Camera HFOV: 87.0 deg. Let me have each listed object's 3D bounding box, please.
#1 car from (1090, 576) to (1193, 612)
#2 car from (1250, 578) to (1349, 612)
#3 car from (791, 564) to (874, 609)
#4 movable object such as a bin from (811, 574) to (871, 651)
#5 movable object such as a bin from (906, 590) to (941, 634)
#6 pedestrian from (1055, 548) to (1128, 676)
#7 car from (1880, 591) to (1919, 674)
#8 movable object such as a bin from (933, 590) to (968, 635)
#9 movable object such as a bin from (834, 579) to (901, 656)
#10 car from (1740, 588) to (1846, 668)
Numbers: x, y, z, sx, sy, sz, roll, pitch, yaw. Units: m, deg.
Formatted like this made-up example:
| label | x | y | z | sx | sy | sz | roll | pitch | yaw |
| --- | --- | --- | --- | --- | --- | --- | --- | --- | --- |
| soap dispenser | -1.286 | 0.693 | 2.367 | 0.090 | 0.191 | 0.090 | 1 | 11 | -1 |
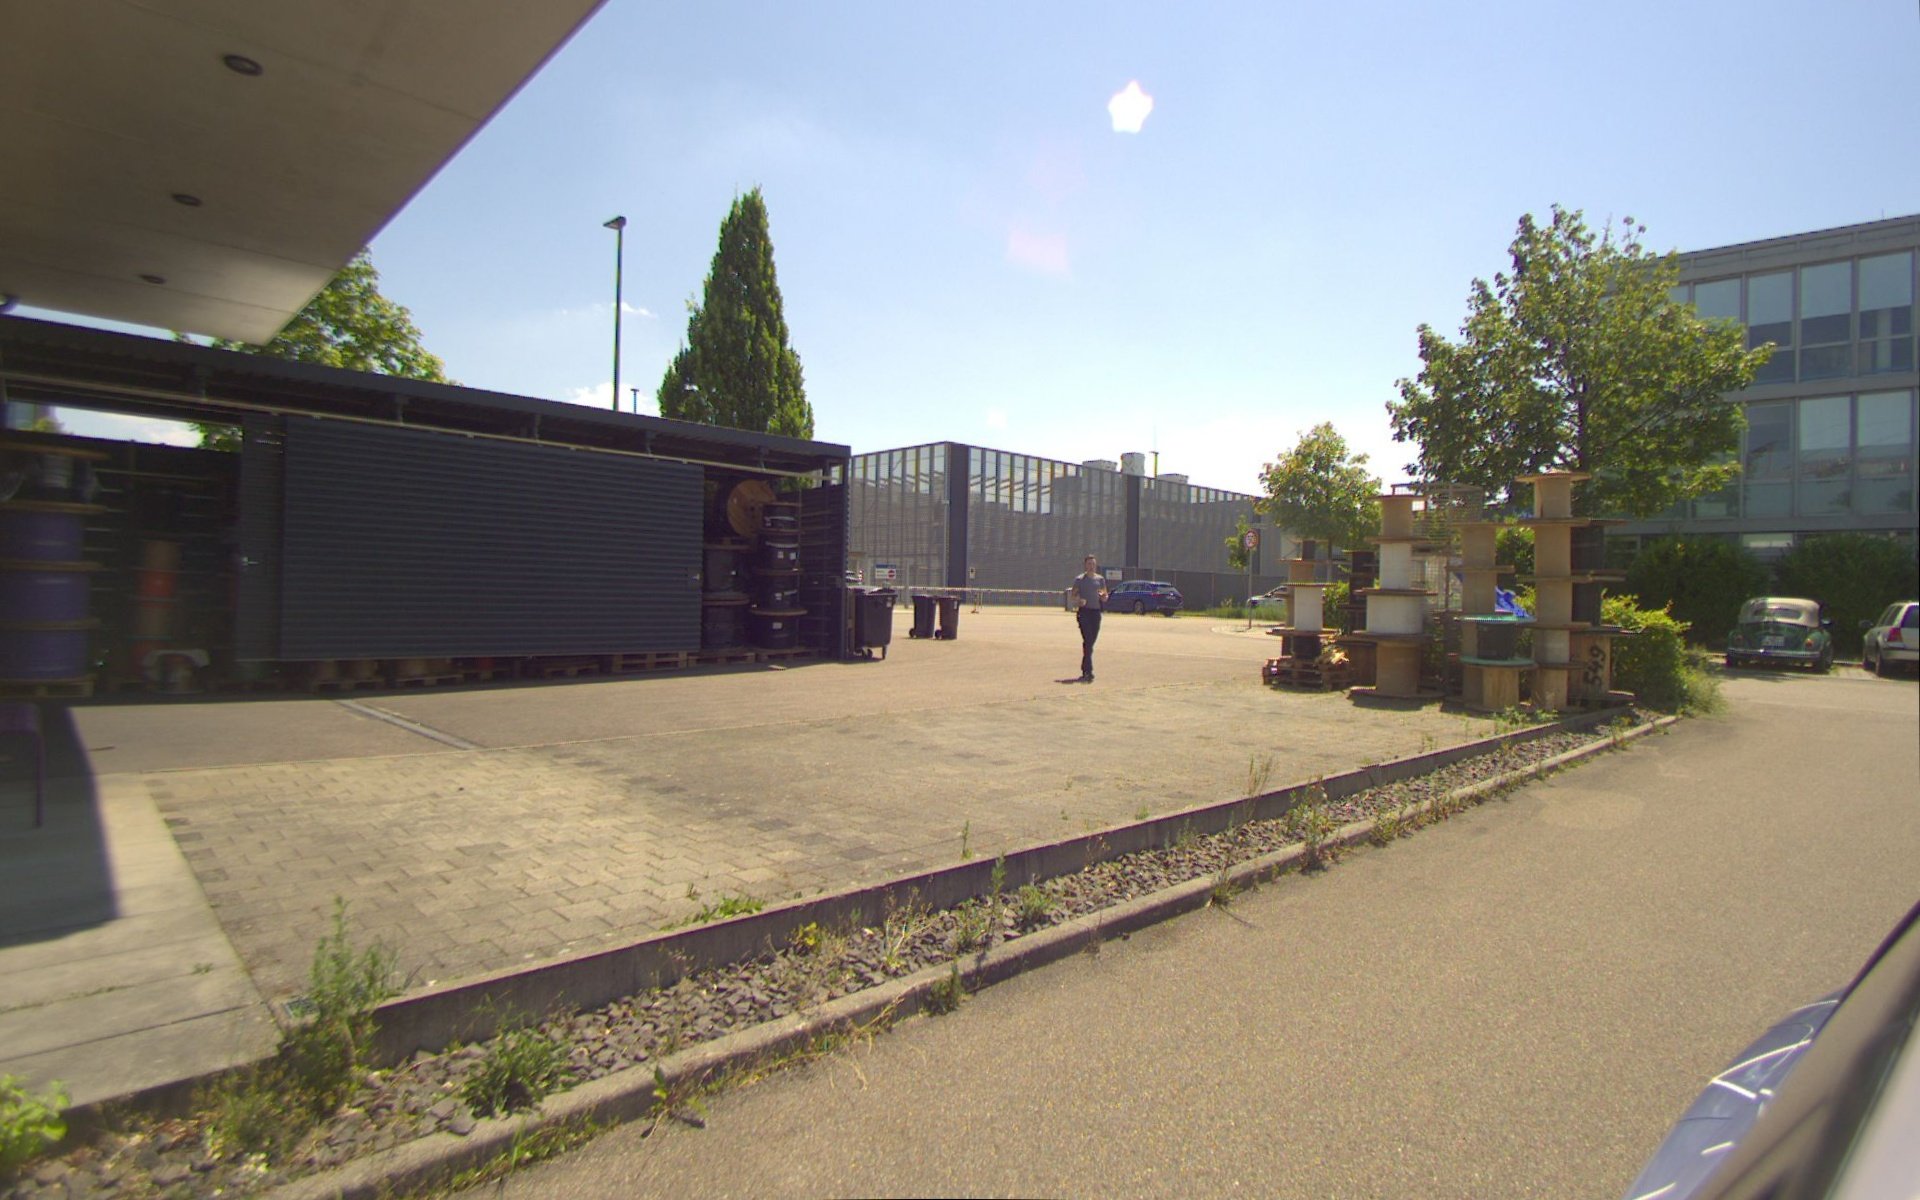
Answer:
| label | x | y | z | sx | sy | sz | roll | pitch | yaw |
| --- | --- | --- | --- | --- | --- | --- | --- | --- | --- |
| car | 7.671 | -0.267 | 43.201 | 1.822 | 1.427 | 4.451 | 1 | 1 | -31 |
| car | 16.053 | -0.262 | 48.070 | 1.744 | 1.494 | 4.422 | 1 | 1 | -28 |
| car | -4.737 | -0.532 | 37.182 | 1.813 | 1.515 | 4.008 | 1 | 2 | -26 |
| movable object such as a bin | -2.125 | 0.202 | 18.065 | 0.786 | 1.314 | 0.756 | 0 | 2 | -36 |
| movable object such as a bin | -0.793 | 0.248 | 22.084 | 0.578 | 0.929 | 0.544 | 1 | 2 | 21 |
| pedestrian | 1.894 | 0.159 | 14.634 | 0.792 | 1.790 | 0.770 | 1 | 1 | -14 |
| car | 19.102 | 0.617 | 19.572 | 1.635 | 1.470 | 3.551 | 3 | 3 | 38 |
| movable object such as a bin | -0.202 | 0.254 | 21.829 | 0.578 | 0.929 | 0.544 | 1 | 2 | 21 |
| movable object such as a bin | -1.588 | 0.277 | 17.305 | 0.786 | 1.265 | 0.876 | 0 | 2 | -36 |
| car | 17.393 | 0.508 | 21.090 | 1.517 | 1.463 | 3.367 | 3 | 3 | 42 |
